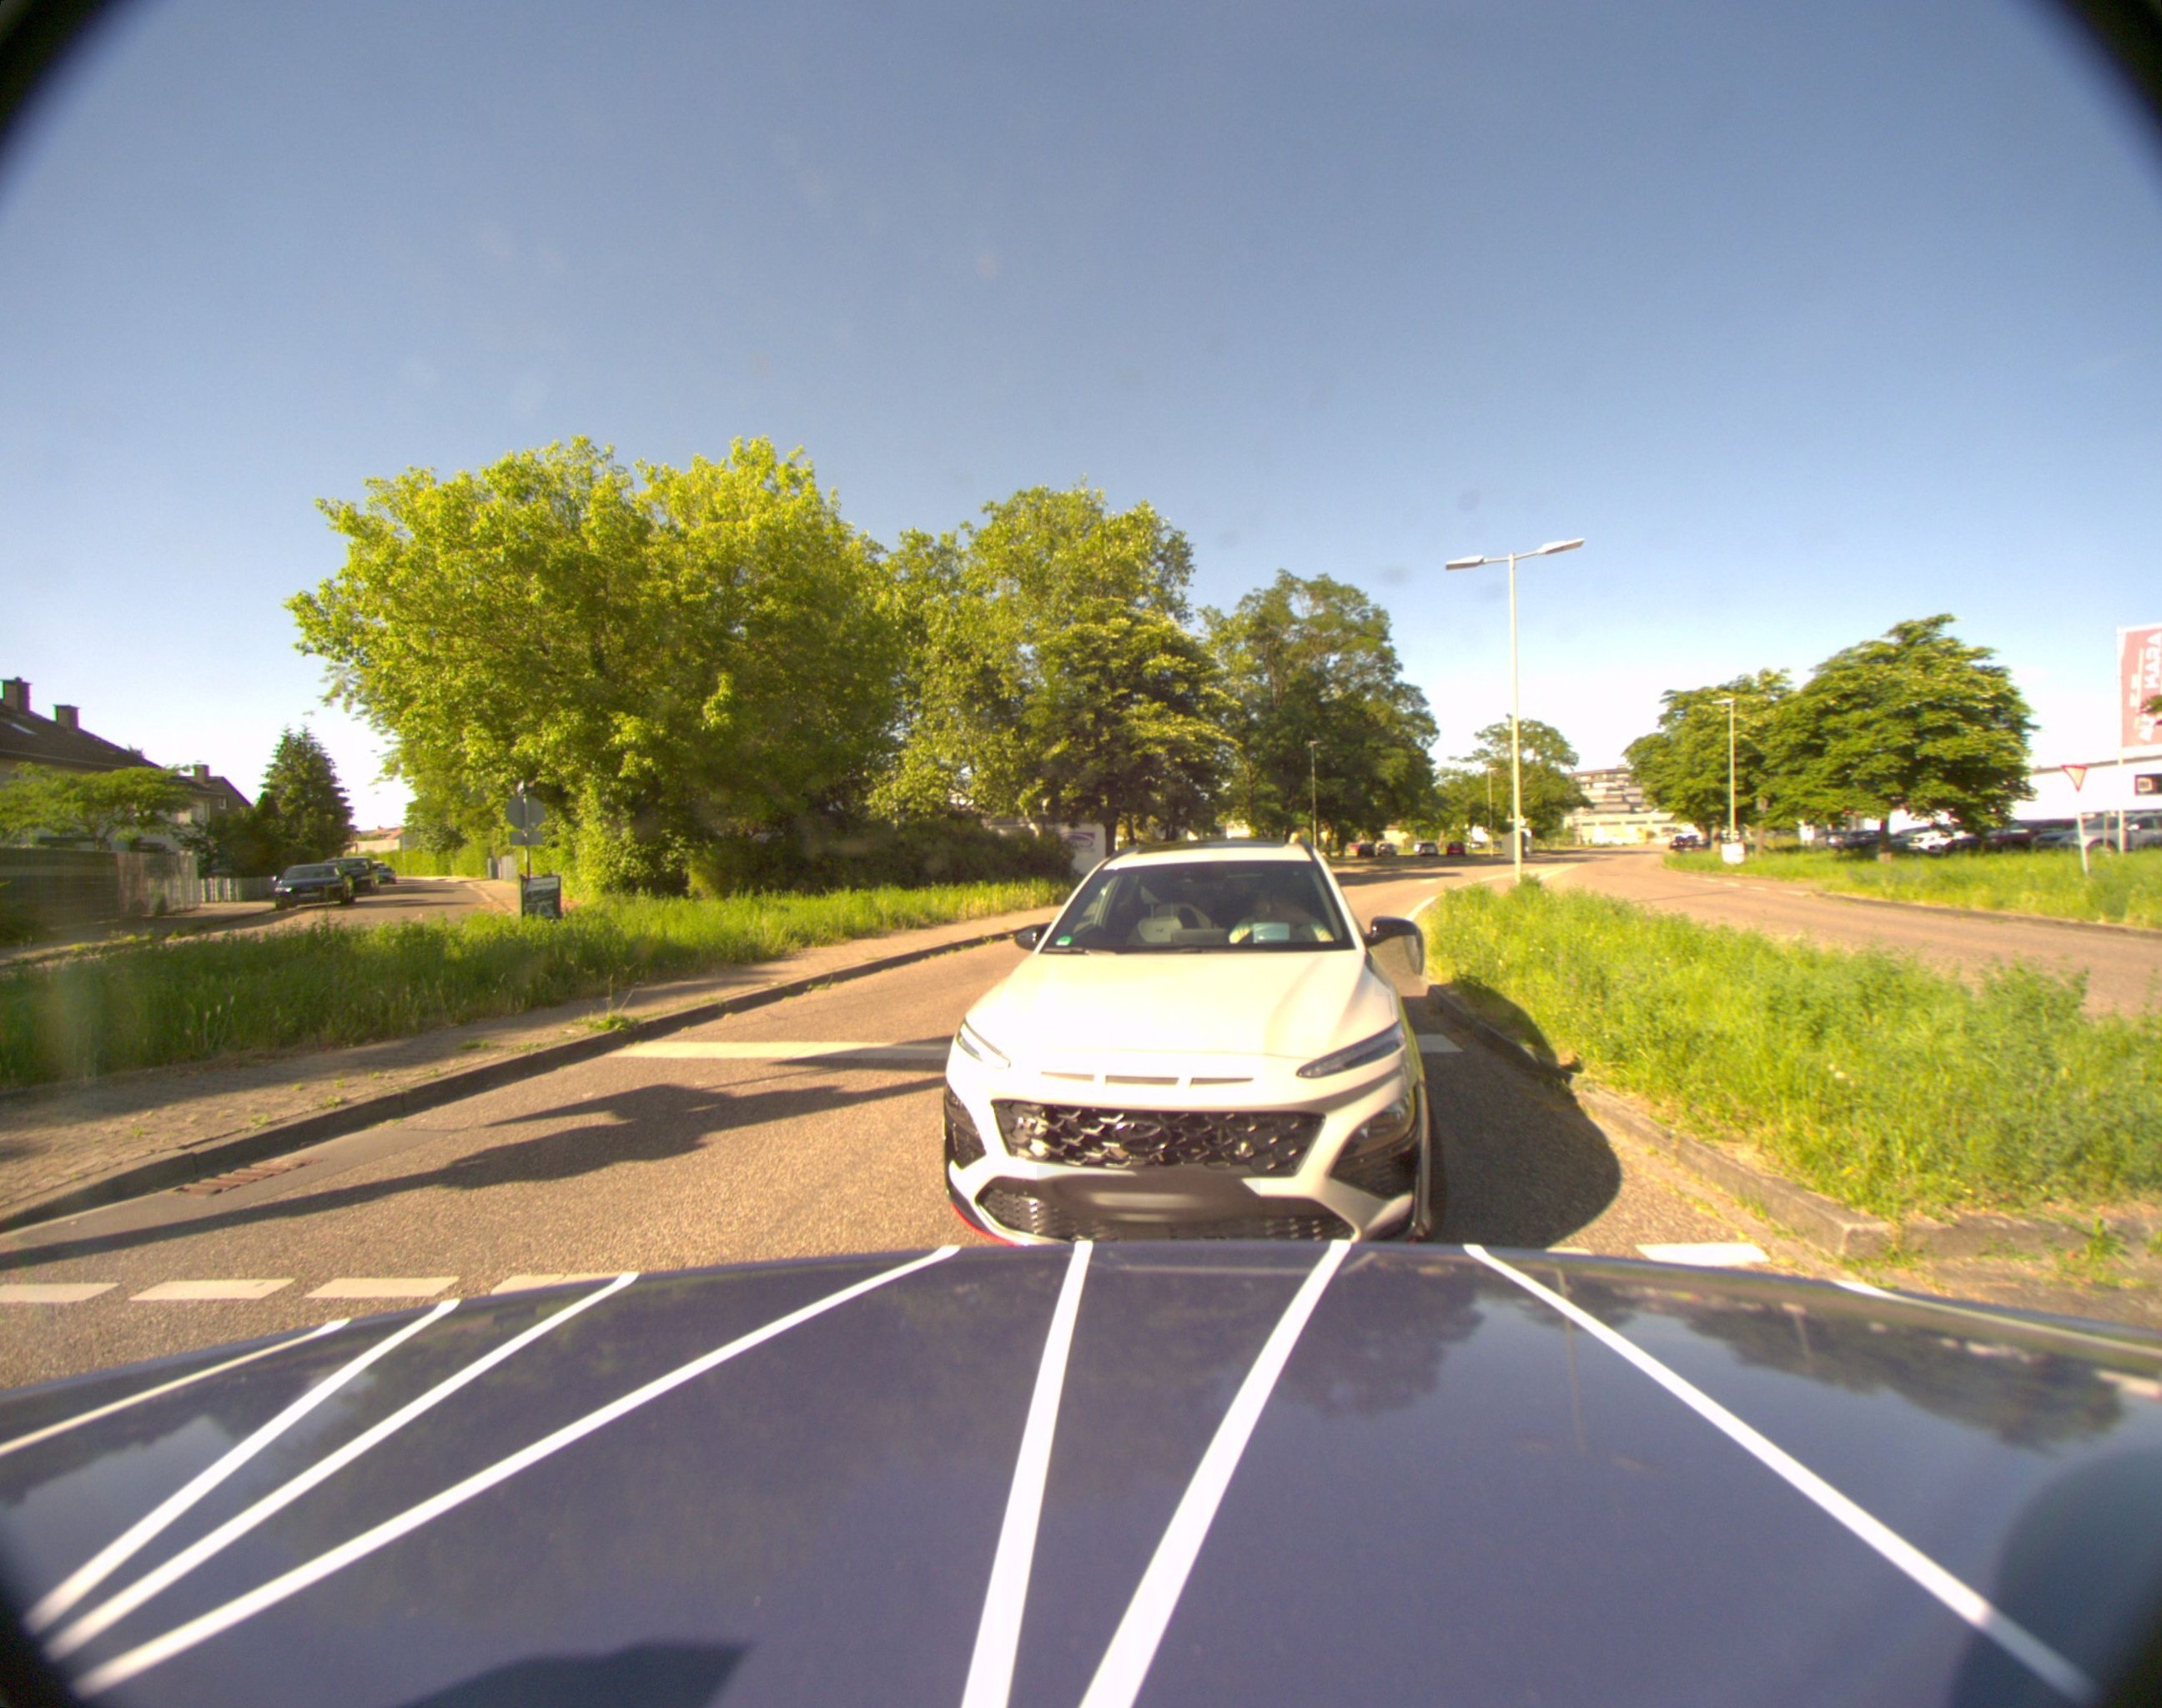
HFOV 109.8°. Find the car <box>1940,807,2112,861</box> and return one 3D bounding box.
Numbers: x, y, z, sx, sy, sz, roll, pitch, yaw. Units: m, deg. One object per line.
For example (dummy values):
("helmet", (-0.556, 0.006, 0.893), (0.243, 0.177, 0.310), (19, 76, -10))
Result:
("car", (38.285, -0.772, 30.897), (3.993, 2.002, 2.002), (-1, 1, 14))

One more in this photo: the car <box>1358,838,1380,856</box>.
("car", (28.826, -0.722, 76.005), (1.733, 1.610, 4.006), (1, 2, 24))

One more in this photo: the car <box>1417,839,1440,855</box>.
("car", (34.179, -0.740, 74.729), (1.995, 1.442, 4.006), (1, 2, 24))

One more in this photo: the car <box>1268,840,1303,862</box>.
("car", (17.899, -0.258, 66.426), (2.005, 1.785, 4.007), (-2, 1, 28))

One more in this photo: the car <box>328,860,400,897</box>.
("car", (-35.066, 1.163, 37.271), (1.967, 1.656, 3.990), (-2, 1, -35))

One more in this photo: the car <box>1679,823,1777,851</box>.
("car", (37.710, -0.975, 44.397), (3.990, 1.521, 1.932), (-1, 1, 27))

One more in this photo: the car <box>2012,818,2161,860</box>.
("car", (37.640, -0.556, 27.897), (3.992, 1.400, 1.841), (-2, 1, 18))

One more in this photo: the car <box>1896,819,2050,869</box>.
("car", (39.148, -0.419, 33.456), (3.993, 2.002, 2.002), (-2, 1, 13))

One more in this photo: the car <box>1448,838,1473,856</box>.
("car", (36.583, -0.720, 73.379), (1.995, 1.657, 4.006), (1, 2, 24))

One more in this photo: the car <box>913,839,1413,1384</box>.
("car", (0.814, 0.787, 4.551), (1.712, 1.636, 4.059), (-1, 2, 17))

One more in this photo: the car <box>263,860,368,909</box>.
("car", (-27.962, 1.064, 27.908), (2.003, 1.547, 3.990), (-3, 1, -35))

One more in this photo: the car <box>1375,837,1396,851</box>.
("car", (32.573, -1.049, 81.183), (1.868, 1.432, 3.488), (1, 2, 24))
